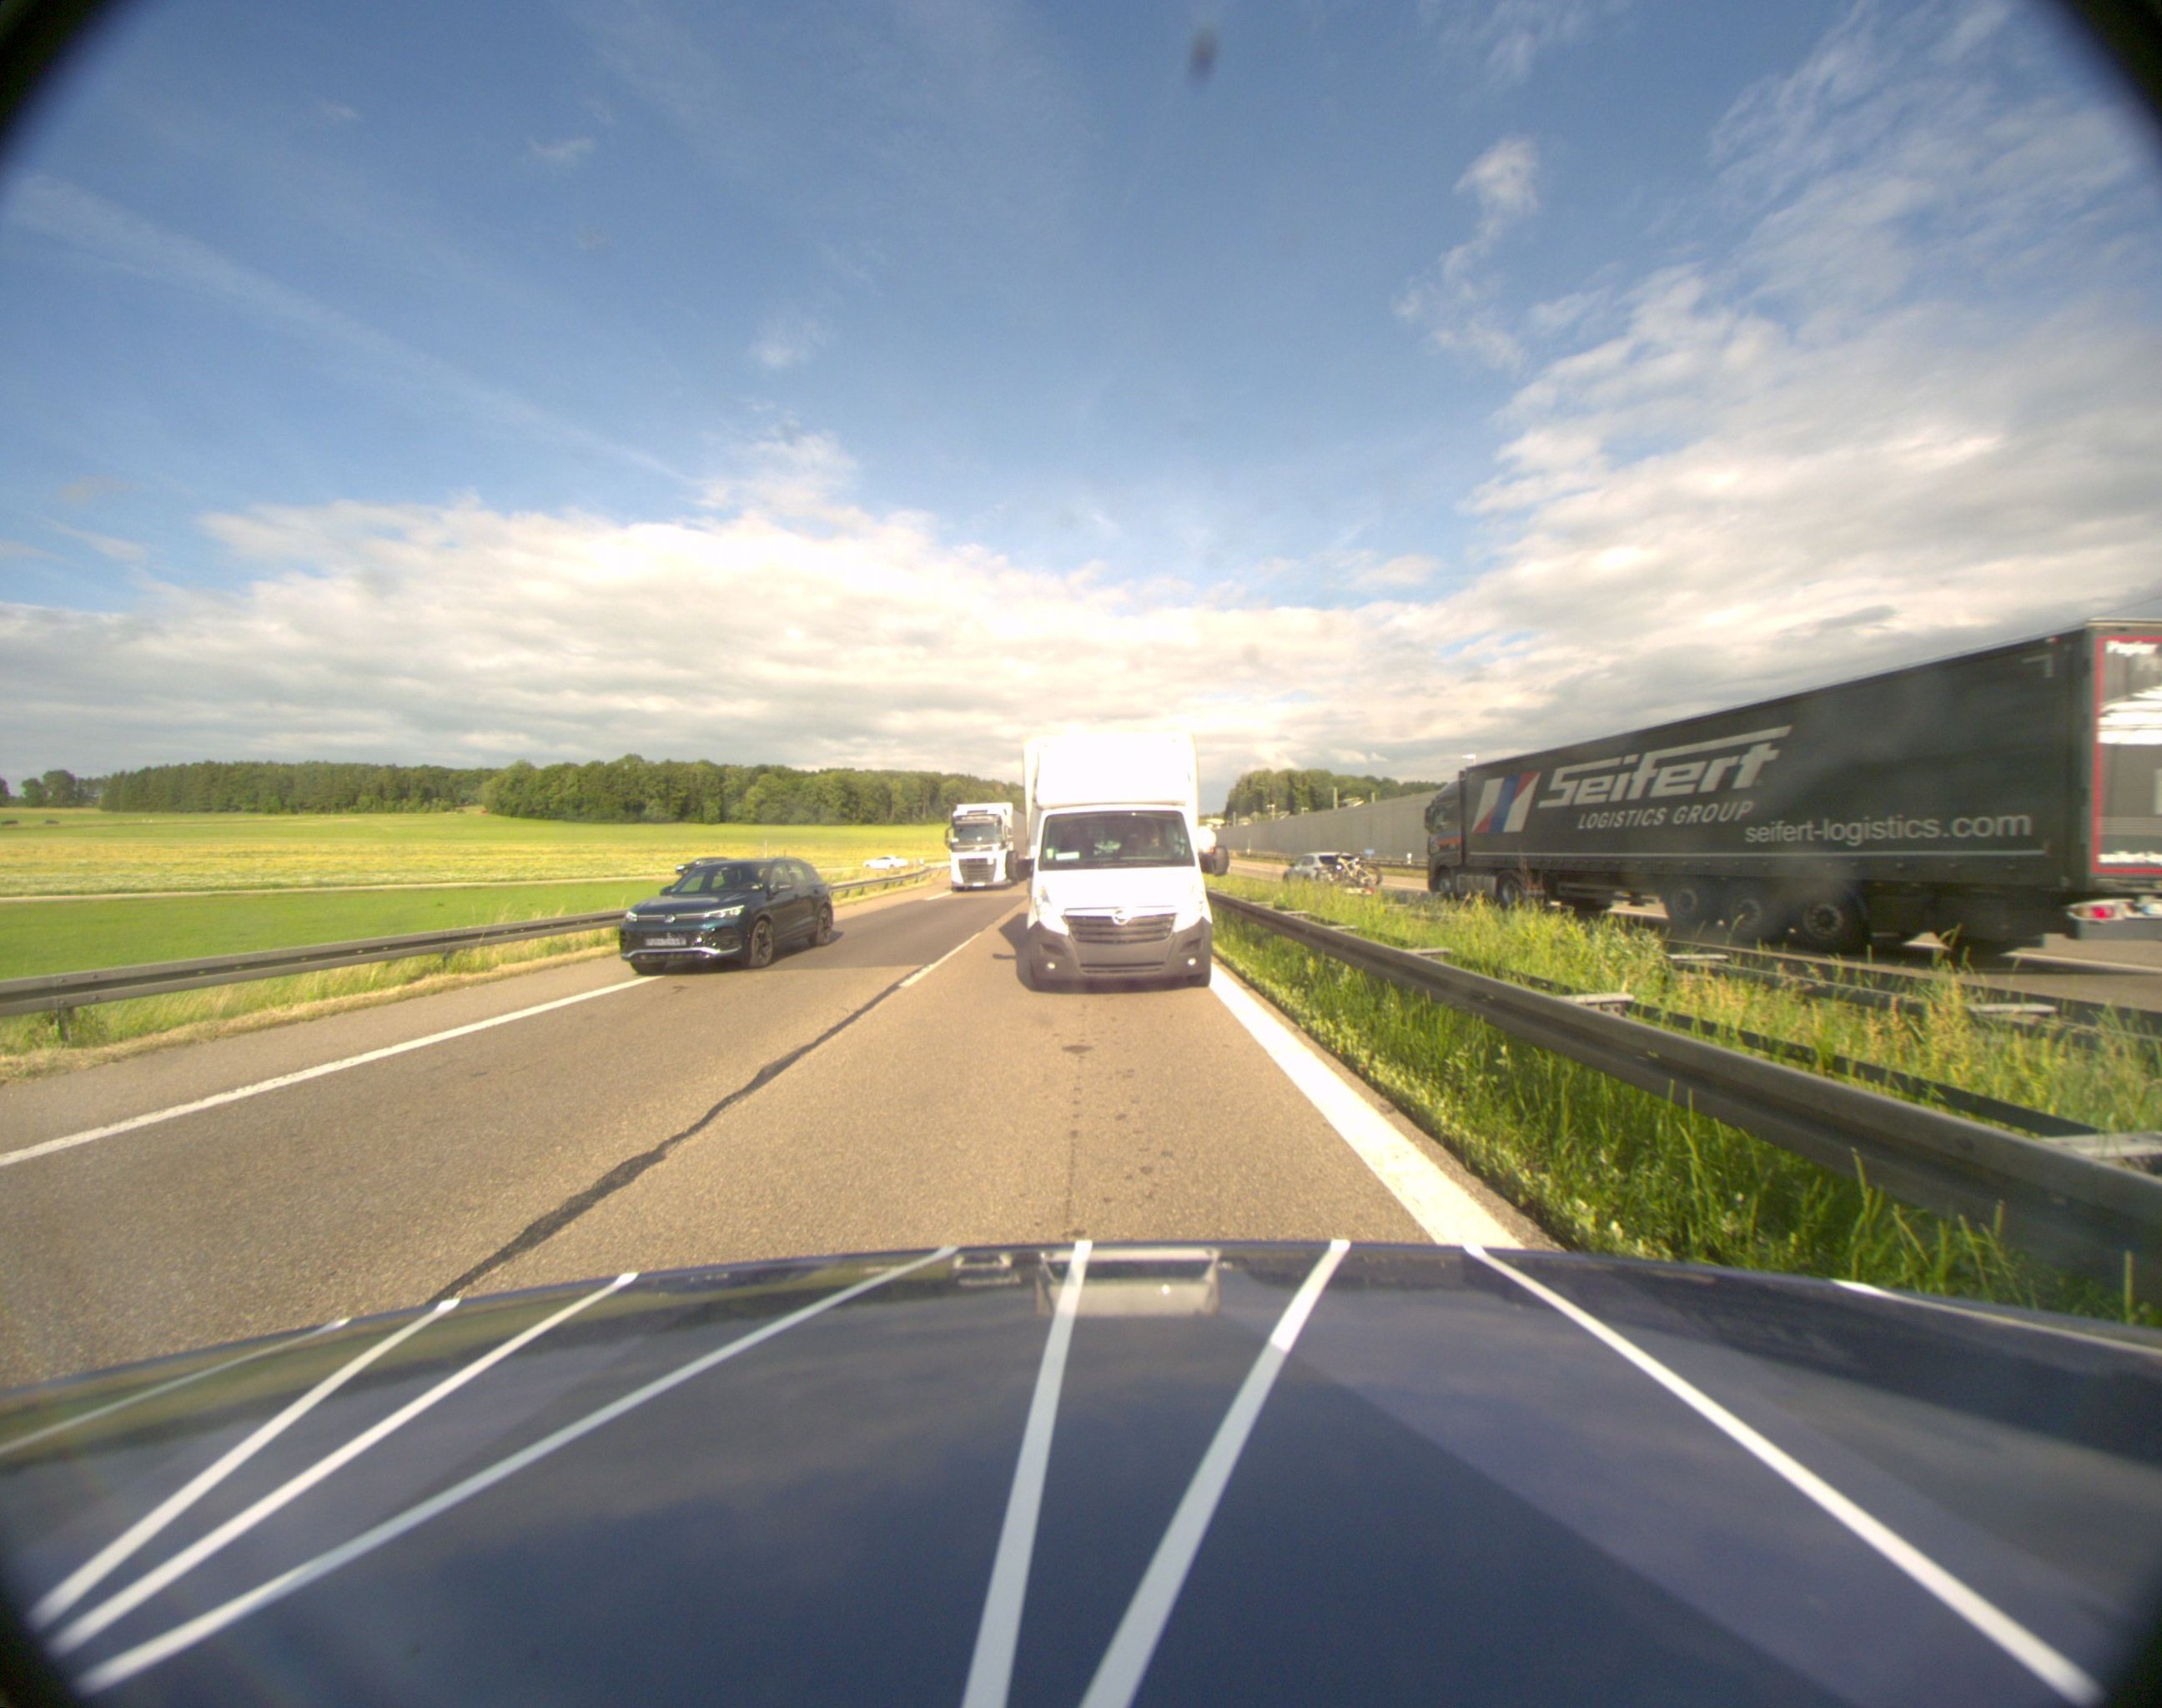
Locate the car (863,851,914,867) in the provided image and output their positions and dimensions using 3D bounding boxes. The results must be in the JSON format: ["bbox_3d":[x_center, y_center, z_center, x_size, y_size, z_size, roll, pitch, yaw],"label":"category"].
[{"bbox_3d":[-21.159,0.552,83.722,5.071,1.537,2.002,-2,1,16],"label":"car"}]

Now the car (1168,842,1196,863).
[{"bbox_3d":[8.990,-0.157,68.168,1.998,1.873,4.786,0,1,1],"label":"car"}]

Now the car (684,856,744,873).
[{"bbox_3d":[-37.260,1.051,77.225,5.130,1.548,1.995,-3,1,-39],"label":"car"}]

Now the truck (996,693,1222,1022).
[{"bbox_3d":[0.447,-0.015,11.189,2.059,3.088,7.804,-2,1,3],"label":"truck"}]

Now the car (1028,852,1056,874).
[{"bbox_3d":[-3.213,0.698,63.704,1.998,1.647,4.000,-2,1,2],"label":"car"}]

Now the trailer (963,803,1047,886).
[{"bbox_3d":[-3.977,-0.530,43.193,2.826,3.959,12.128,-2,1,3],"label":"trailer"}]

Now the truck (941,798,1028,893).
[{"bbox_3d":[-4.356,-0.414,35.860,2.842,3.967,6.501,-2,1,3],"label":"truck"}]

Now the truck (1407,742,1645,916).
[{"bbox_3d":[12.137,-0.637,21.639,2.761,4.067,6.952,-1,1,1],"label":"truck"}]

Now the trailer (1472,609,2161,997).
[{"bbox_3d":[12.045,-0.645,14.494,2.766,4.091,12.903,-1,1,1],"label":"trailer"}]

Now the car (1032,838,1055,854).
[{"bbox_3d":[-3.937,-0.859,80.623,1.998,1.647,4.000,-2,1,2],"label":"car"}]

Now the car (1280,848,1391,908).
[{"bbox_3d":[7.990,0.681,24.399,1.893,1.622,5.110,-2,1,1],"label":"car"}]

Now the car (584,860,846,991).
[{"bbox_3d":[-5.502,0.972,12.157,1.998,1.587,4.119,-2,1,3],"label":"car"}]

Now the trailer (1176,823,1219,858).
[{"bbox_3d":[13.156,-1.494,86.893,2.547,3.749,12.536,0,1,-2],"label":"trailer"}]

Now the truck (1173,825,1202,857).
[{"bbox_3d":[12.918,-1.602,92.155,2.559,3.776,5.415,0,1,-2],"label":"truck"}]
